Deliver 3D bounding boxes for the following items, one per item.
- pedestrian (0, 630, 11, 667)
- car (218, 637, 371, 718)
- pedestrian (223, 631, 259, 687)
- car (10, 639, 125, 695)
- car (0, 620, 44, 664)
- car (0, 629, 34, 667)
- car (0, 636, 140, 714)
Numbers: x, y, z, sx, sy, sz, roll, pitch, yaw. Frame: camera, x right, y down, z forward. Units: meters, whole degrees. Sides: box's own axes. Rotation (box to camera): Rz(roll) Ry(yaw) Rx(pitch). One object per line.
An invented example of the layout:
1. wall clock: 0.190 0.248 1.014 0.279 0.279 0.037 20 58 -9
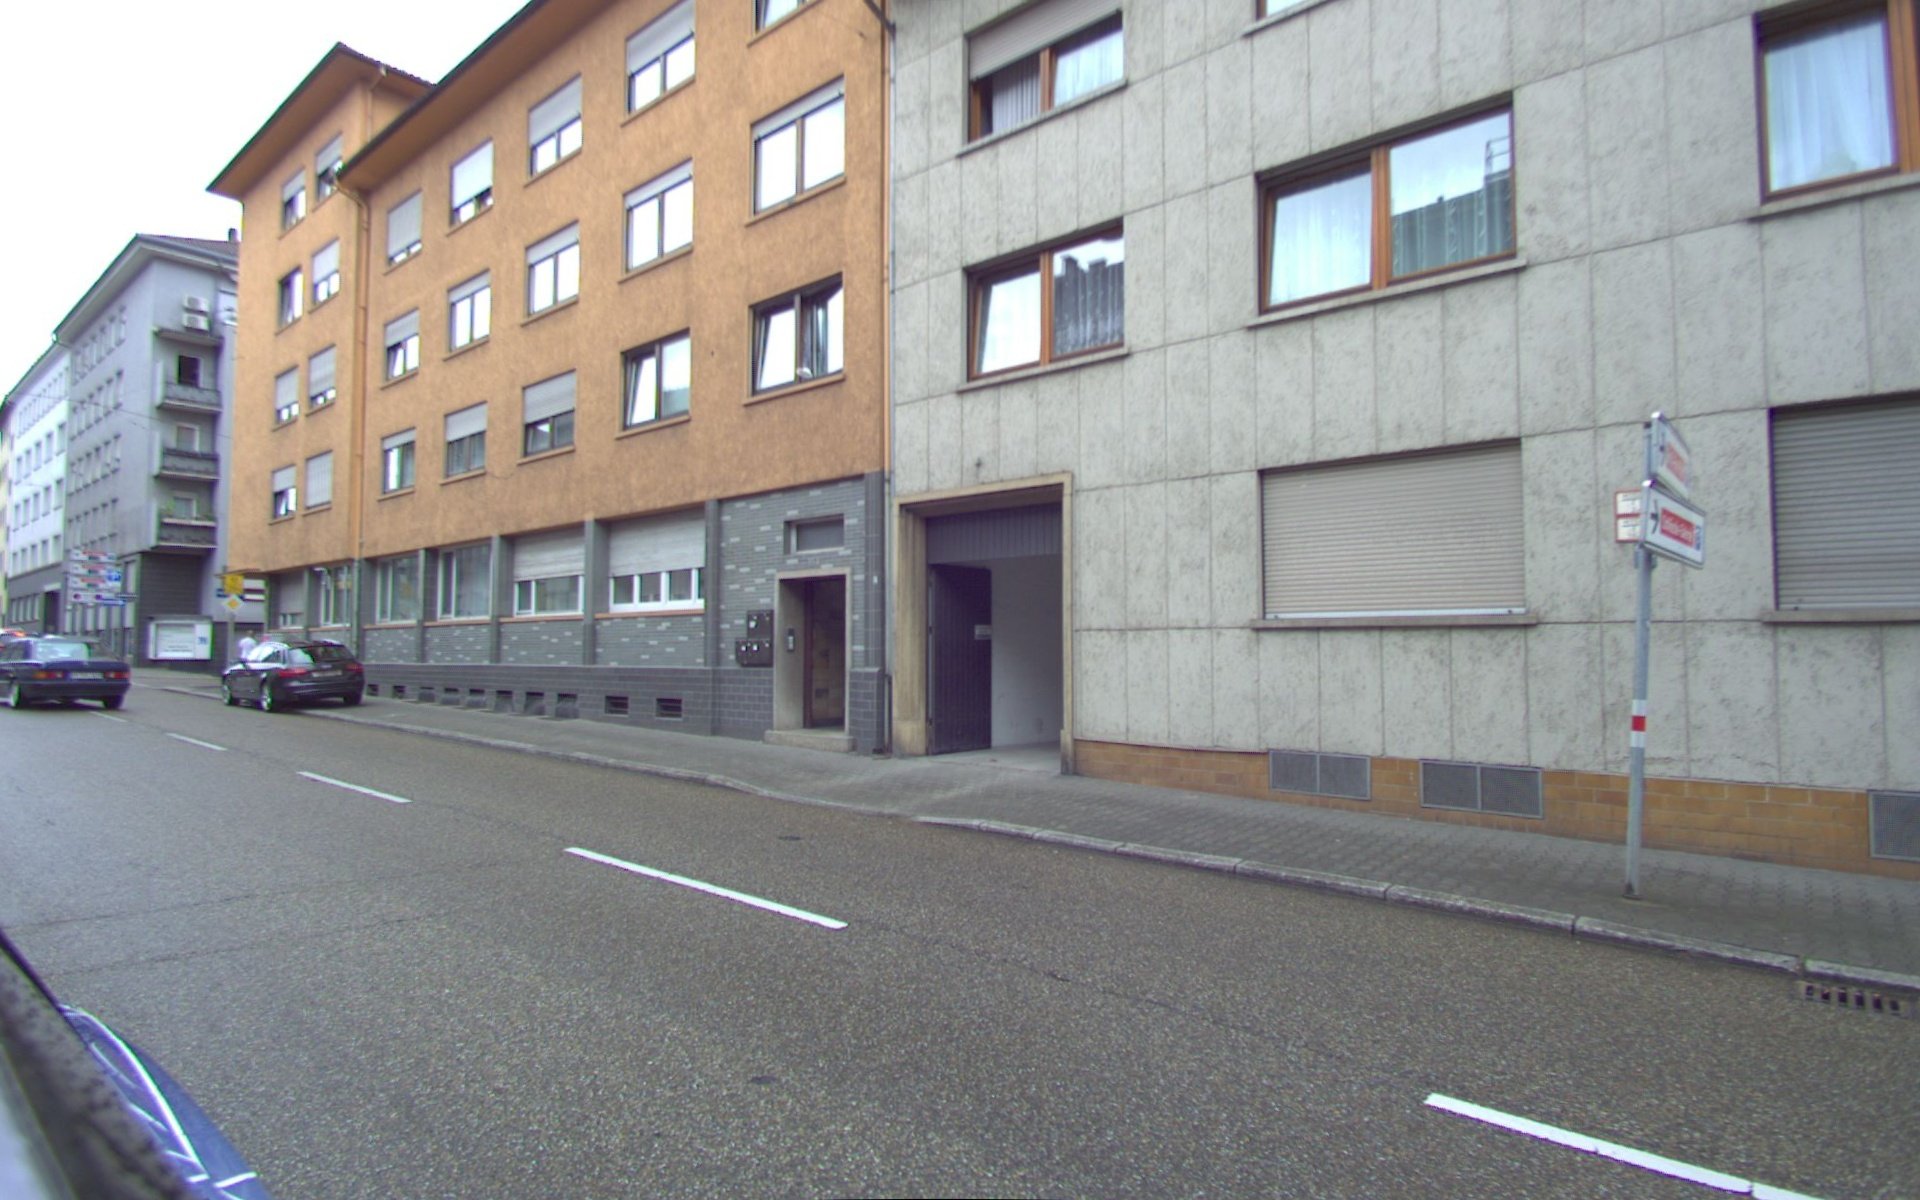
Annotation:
1. pedestrian: -53.671 2.696 56.193 1.257 2.029 1.292 -1 0 41
2. car: -14.763 1.628 22.358 4.216 1.485 1.776 -1 0 41
3. pedestrian: -22.357 1.817 31.452 0.757 1.652 1.024 0 0 -44
4. car: -25.163 1.866 28.493 4.362 1.381 1.678 -1 -5 39
5. car: -34.633 1.486 36.484 4.370 1.484 1.705 -2 -5 40
6. car: -47.008 2.352 49.672 4.216 1.735 1.832 -1 0 41
7. car: -18.254 1.446 20.176 4.348 1.381 1.586 0 -5 33
